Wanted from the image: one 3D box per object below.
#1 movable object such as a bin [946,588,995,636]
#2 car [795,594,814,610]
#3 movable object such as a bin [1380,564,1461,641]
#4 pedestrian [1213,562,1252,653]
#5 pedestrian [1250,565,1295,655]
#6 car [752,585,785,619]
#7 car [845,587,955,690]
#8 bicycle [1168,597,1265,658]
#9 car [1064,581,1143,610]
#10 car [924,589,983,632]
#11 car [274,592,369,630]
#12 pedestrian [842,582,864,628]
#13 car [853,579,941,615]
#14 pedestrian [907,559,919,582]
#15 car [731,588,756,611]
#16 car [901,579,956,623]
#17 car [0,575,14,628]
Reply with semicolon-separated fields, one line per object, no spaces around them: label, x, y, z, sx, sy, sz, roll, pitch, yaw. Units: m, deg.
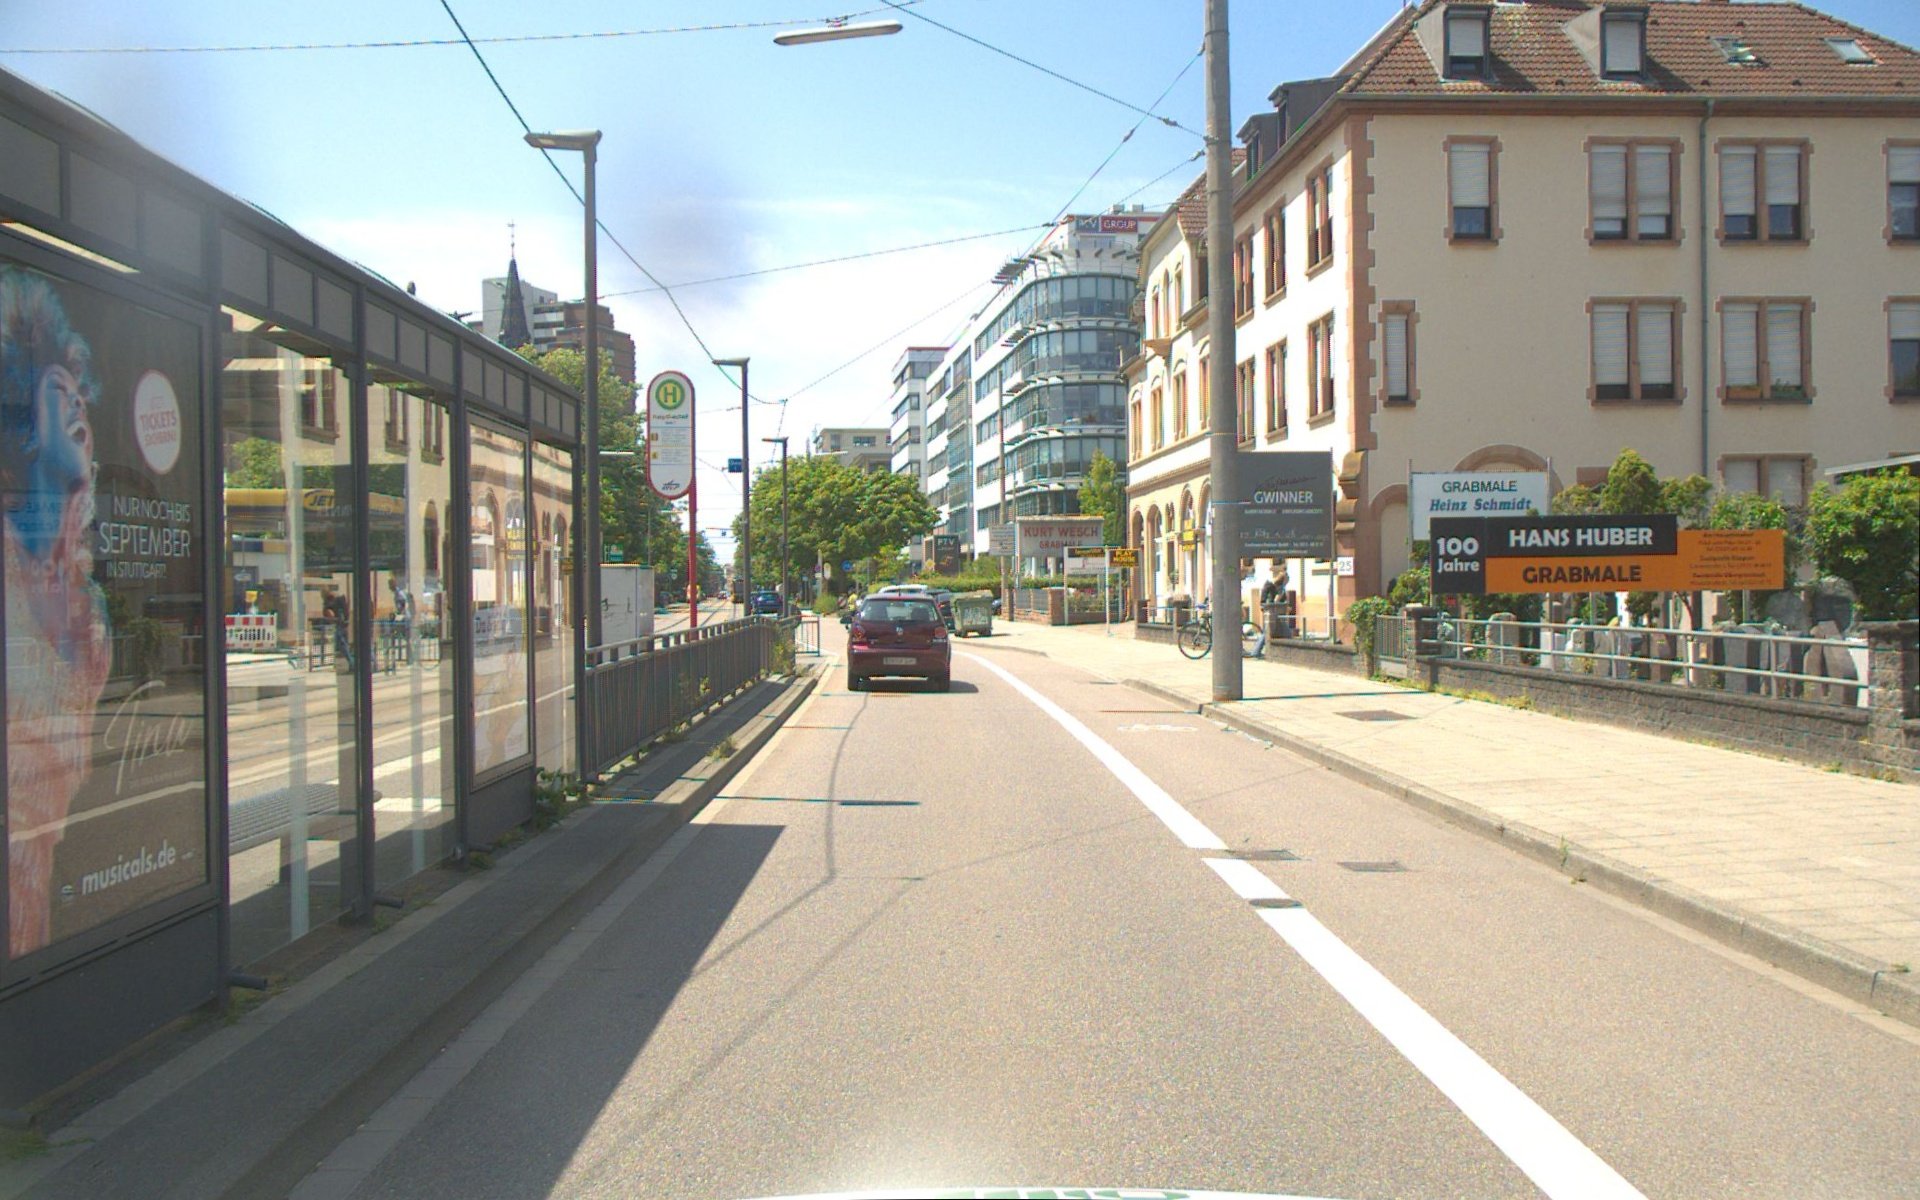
movable object such as a bin;0.346;0.395;54.534;1.367;1.480;1.136;-3;1;-11
car;-15.193;0.200;161.449;1.657;1.529;3.621;-2;0;-8
movable object such as a bin;9.559;0.050;34.379;1.302;1.525;1.046;-2;0;-3
pedestrian;5.457;0.155;33.095;0.673;1.803;0.503;-1;0;21
pedestrian;6.040;0.194;31.973;0.806;1.720;0.589;-1;0;7
car;-12.160;0.110;104.691;1.956;2.049;3.992;1;0;-9
car;-0.897;0.553;26.503;1.586;1.512;4.000;1;0;0
bicycle;5.082;0.544;32.812;1.766;1.147;0.589;-2;-1;25
car;7.848;-0.246;90.535;4.067;1.485;1.816;-1;0;-4
car;-0.288;0.397;65.859;1.739;1.575;4.460;-3;0;-7
car;-28.335;0.459;73.541;1.787;1.531;4.203;1;2;15
pedestrian;-4.704;0.200;72.535;0.770;1.994;0.586;-1;0;-23
car;-3.353;-0.186;87.415;4.452;1.831;1.997;-1;0;-8
pedestrian;-3.672;-2.305;129.091;0.856;1.745;1.090;-2;0;1
car;-17.754;-0.043;135.934;1.956;1.769;3.994;-1;1;-7
car;-1.400;0.023;71.864;1.888;1.722;5.075;-3;1;-6
car;-34.087;0.034;55.265;4.173;1.777;1.893;1;0;16
